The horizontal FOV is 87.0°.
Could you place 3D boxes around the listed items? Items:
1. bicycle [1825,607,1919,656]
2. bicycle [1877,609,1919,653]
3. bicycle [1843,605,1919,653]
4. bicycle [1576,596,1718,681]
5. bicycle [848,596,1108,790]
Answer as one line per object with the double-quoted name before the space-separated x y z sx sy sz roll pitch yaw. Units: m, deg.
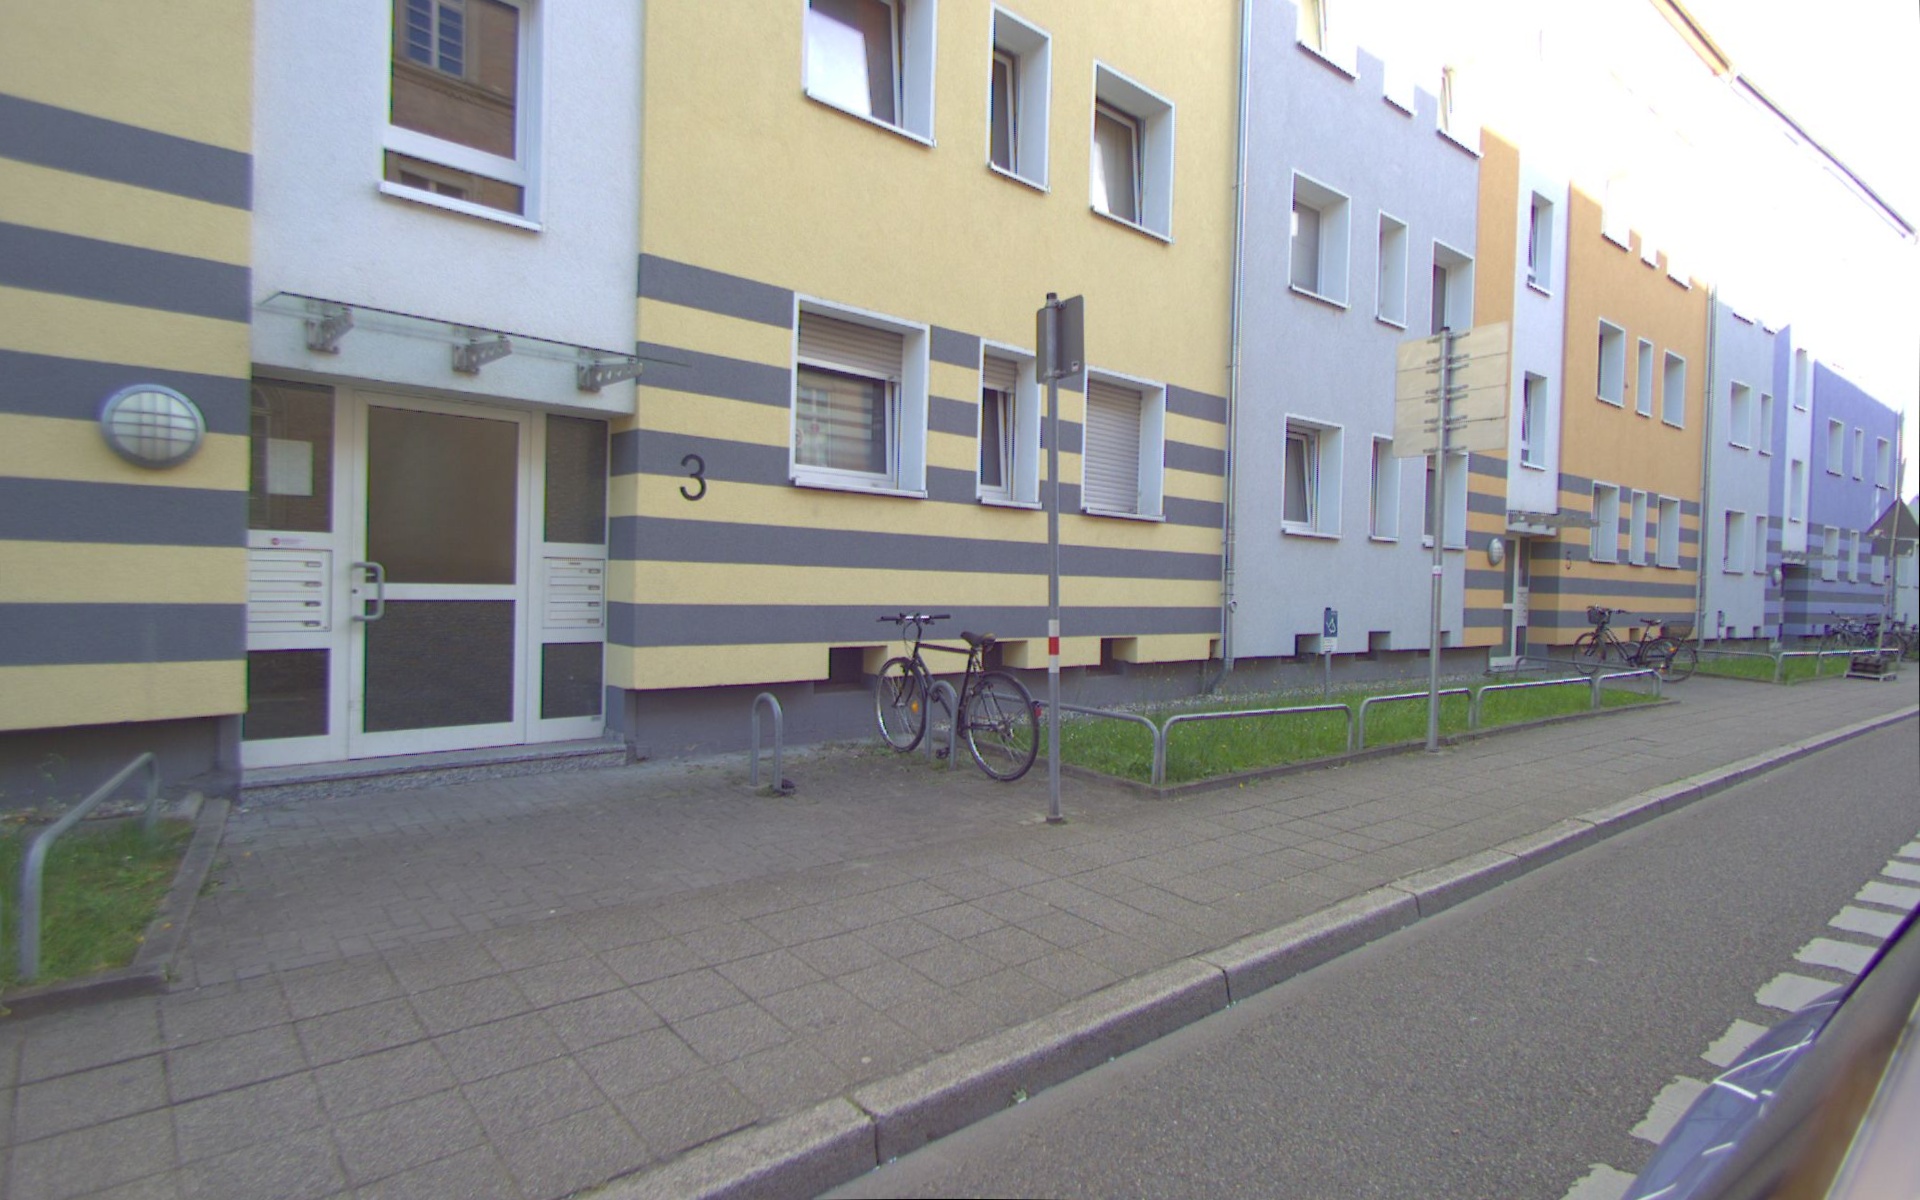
"bicycle" 22.296 0.749 24.687 0.624 1.058 1.711 1 2 -39
"bicycle" 24.183 0.811 25.356 0.625 1.048 1.709 1 3 -42
"bicycle" 23.265 0.721 25.282 0.625 1.095 1.711 1 2 -40
"bicycle" 10.755 0.567 15.884 0.625 1.173 1.709 1 3 -42
"bicycle" 0.058 0.565 7.067 0.625 1.074 1.946 1 3 -42
